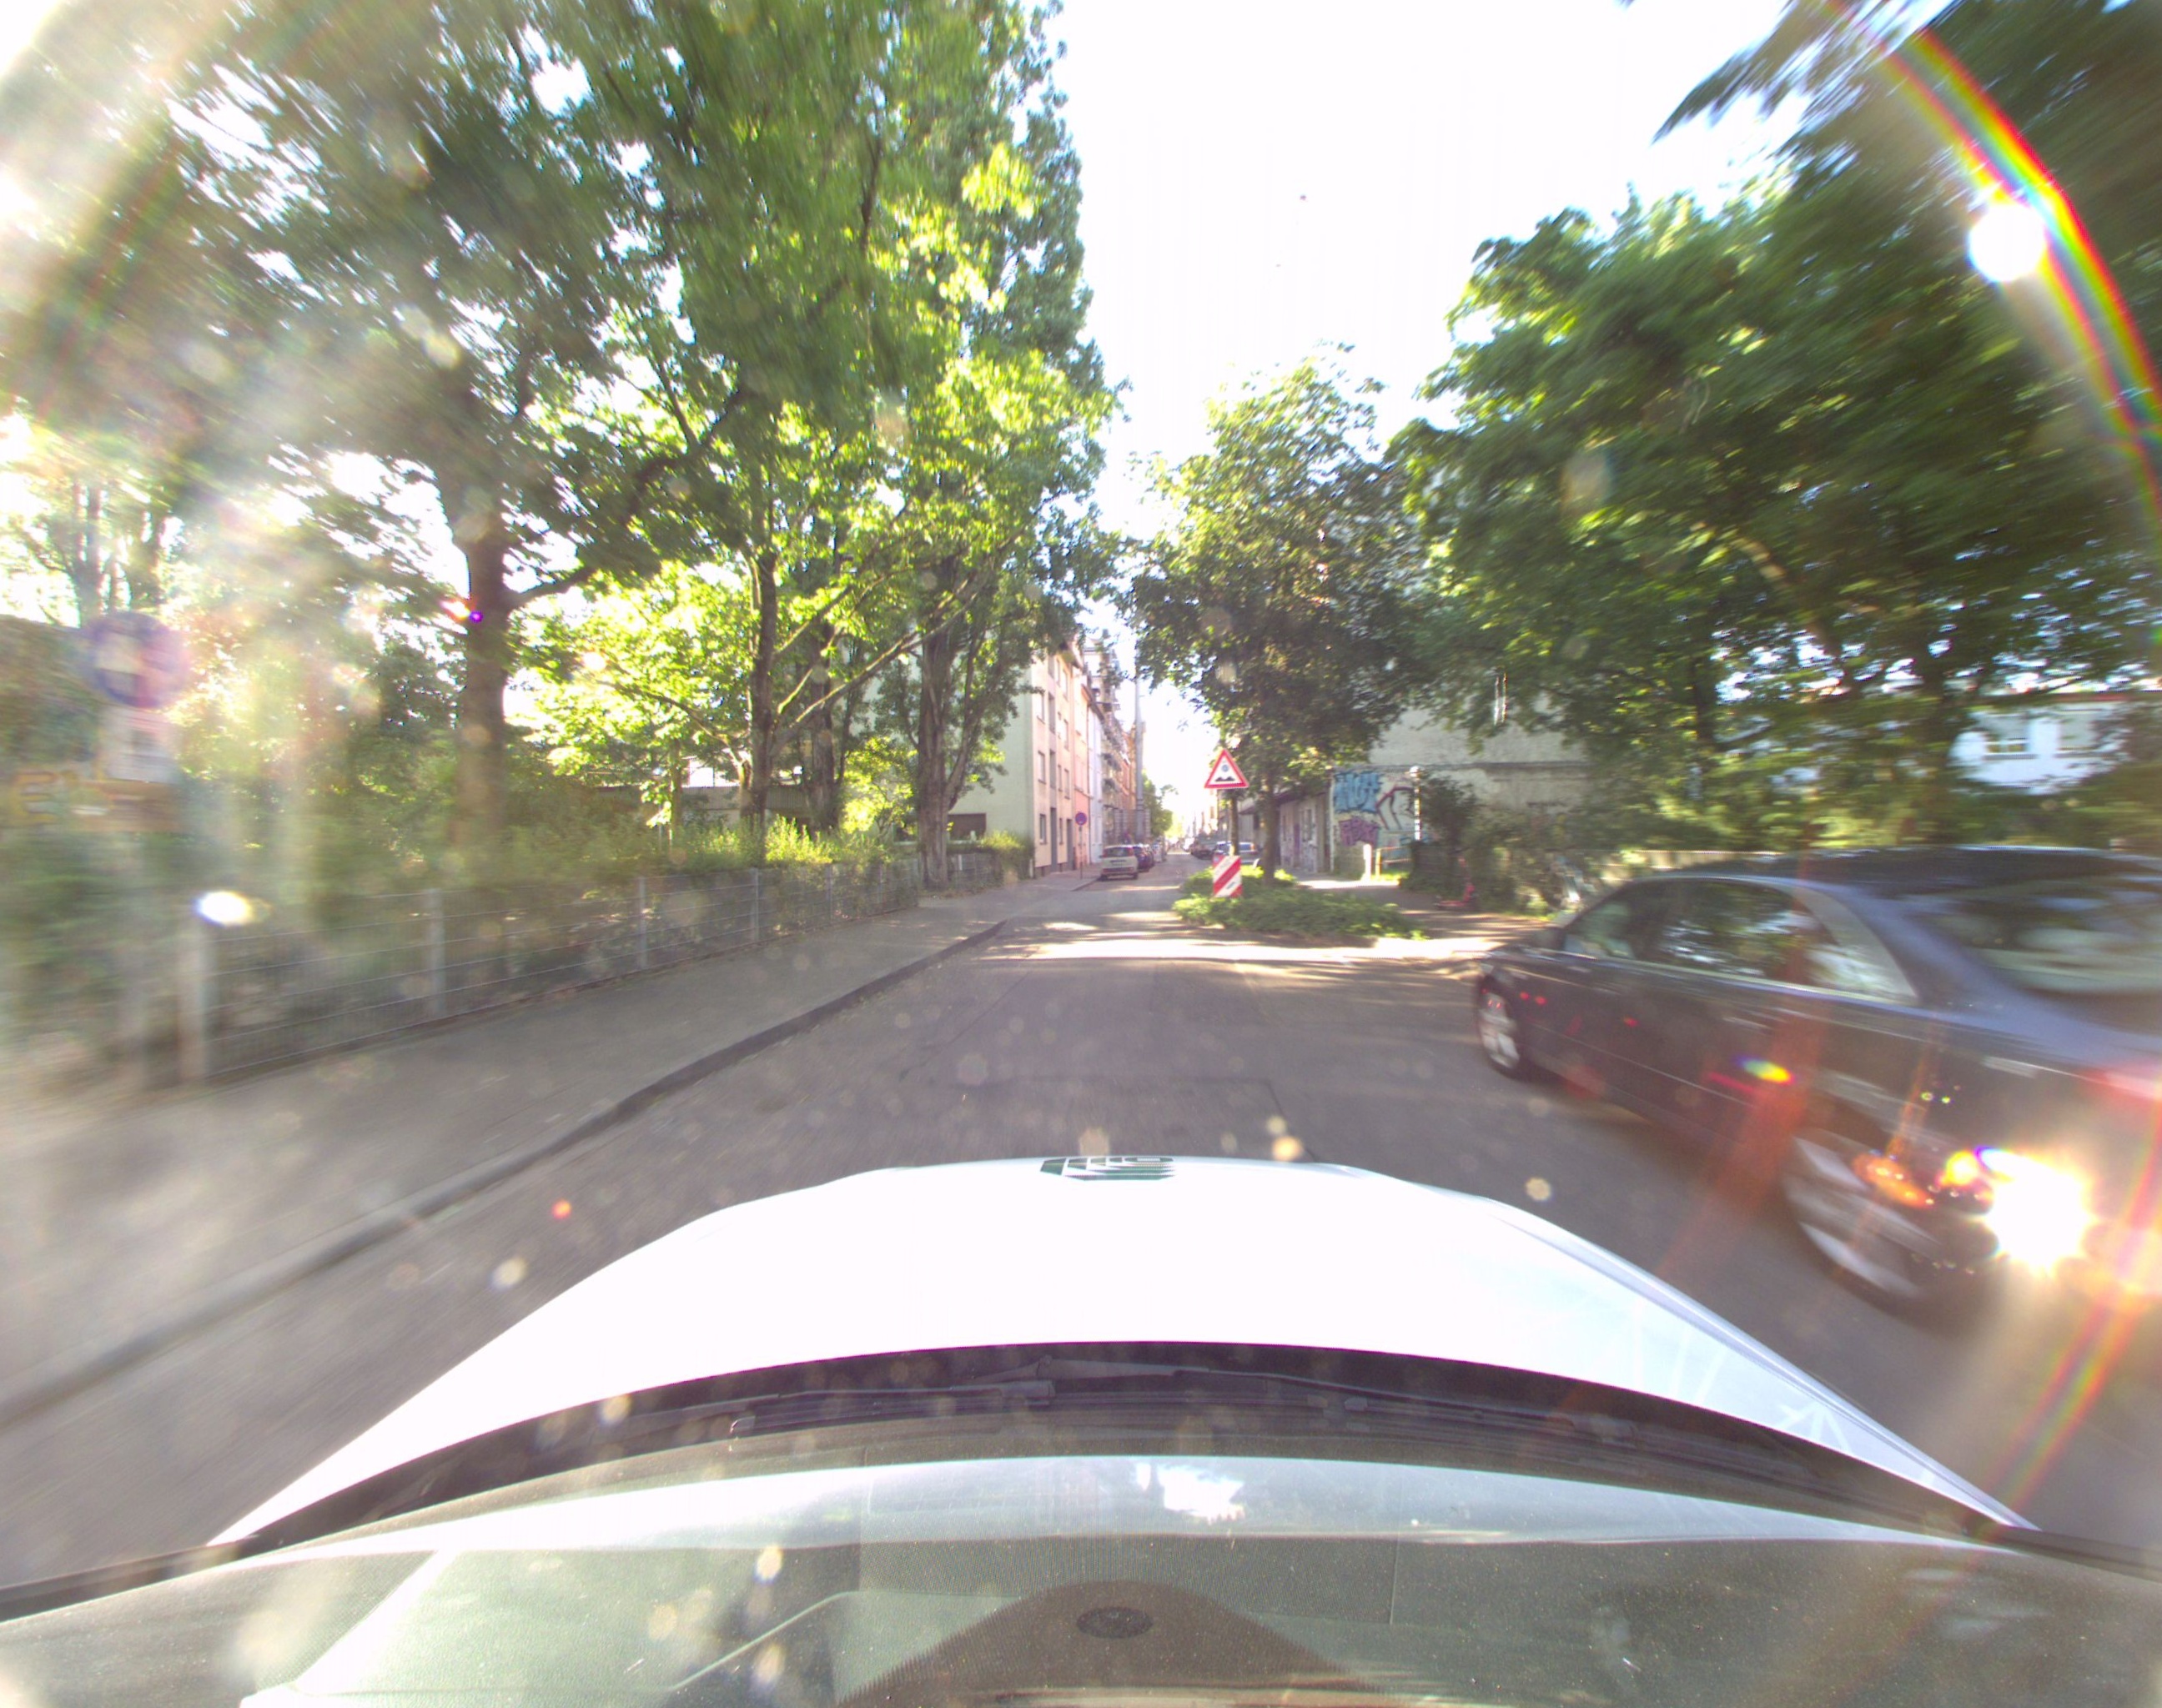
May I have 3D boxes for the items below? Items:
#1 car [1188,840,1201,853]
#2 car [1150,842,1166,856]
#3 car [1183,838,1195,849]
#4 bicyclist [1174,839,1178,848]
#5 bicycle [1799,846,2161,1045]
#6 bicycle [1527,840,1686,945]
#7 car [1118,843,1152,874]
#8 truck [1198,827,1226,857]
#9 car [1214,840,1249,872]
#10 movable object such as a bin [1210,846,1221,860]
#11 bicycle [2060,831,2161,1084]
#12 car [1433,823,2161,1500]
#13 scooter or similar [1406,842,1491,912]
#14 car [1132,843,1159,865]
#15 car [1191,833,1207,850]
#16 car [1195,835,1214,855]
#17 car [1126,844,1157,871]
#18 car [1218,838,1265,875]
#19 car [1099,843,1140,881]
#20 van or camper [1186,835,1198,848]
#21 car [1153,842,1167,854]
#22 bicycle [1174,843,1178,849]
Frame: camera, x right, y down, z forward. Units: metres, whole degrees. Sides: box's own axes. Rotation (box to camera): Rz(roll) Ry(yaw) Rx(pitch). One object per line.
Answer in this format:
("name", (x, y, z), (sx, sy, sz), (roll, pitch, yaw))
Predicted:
("car", (19.203, -1.292, 137.864), (1.984, 2.013, 4.007), (-2, 1, 6))
("car", (8.439, -0.575, 89.601), (1.667, 1.445, 3.874), (-2, 0, 5))
("car", (20.224, -1.983, 152.310), (1.984, 1.848, 4.007), (-2, 1, 6))
("bicyclist", (18.345, -1.978, 157.560), (0.726, 1.761, 0.837), (-1, 1, 7))
("bicycle", (6.568, 0.573, 6.095), (0.842, 1.200, 1.986), (-2, 1, 8))
("bicycle", (7.313, 0.462, 11.552), (0.842, 1.267, 2.699), (-2, 1, 9))
("car", (3.060, 0.223, 45.683), (1.721, 1.539, 4.383), (-3, 0, 5))
("truck", (12.315, -1.127, 76.923), (2.179, 2.607, 5.243), (-2, 1, 6))
("car", (8.123, 0.079, 44.229), (1.631, 1.656, 3.878), (-1, 0, 8))
("movable object such as a bin", (10.693, -0.087, 64.753), (0.791, 1.056, 0.661), (-1, 1, 6))
("bicycle", (6.153, 0.533, 3.474), (1.283, 1.301, 2.333), (-4, 0, 9))
("car", (3.425, 0.658, 3.951), (1.713, 1.493, 4.419), (-3, 1, 4))
("scooter or similar", (7.047, 0.429, 15.685), (0.547, 1.261, 1.461), (-3, 0, -24))
("car", (4.580, -0.026, 57.435), (1.666, 1.477, 4.617), (-2, 0, 7))
("car", (14.406, -1.537, 99.859), (1.667, 2.031, 3.874), (-2, 0, 5))
("car", (13.225, -0.955, 87.411), (1.667, 1.962, 4.114), (-2, 0, 5))
("car", (3.785, 0.157, 50.592), (1.666, 1.511, 4.423), (-3, 1, 7))
("car", (7.405, 0.089, 37.952), (1.712, 1.562, 4.405), (-1, 0, 6))
("car", (1.790, 0.325, 36.922), (1.667, 1.539, 3.874), (-2, 0, 5))
("van or camper", (22.533, -2.617, 166.043), (1.985, 2.508, 4.205), (-2, 1, 3))
("car", (9.516, -0.723, 98.368), (1.667, 1.445, 3.874), (-2, 0, 5))
("bicycle", (18.326, -1.550, 157.433), (0.721, 1.186, 2.047), (0, 2, 7))
